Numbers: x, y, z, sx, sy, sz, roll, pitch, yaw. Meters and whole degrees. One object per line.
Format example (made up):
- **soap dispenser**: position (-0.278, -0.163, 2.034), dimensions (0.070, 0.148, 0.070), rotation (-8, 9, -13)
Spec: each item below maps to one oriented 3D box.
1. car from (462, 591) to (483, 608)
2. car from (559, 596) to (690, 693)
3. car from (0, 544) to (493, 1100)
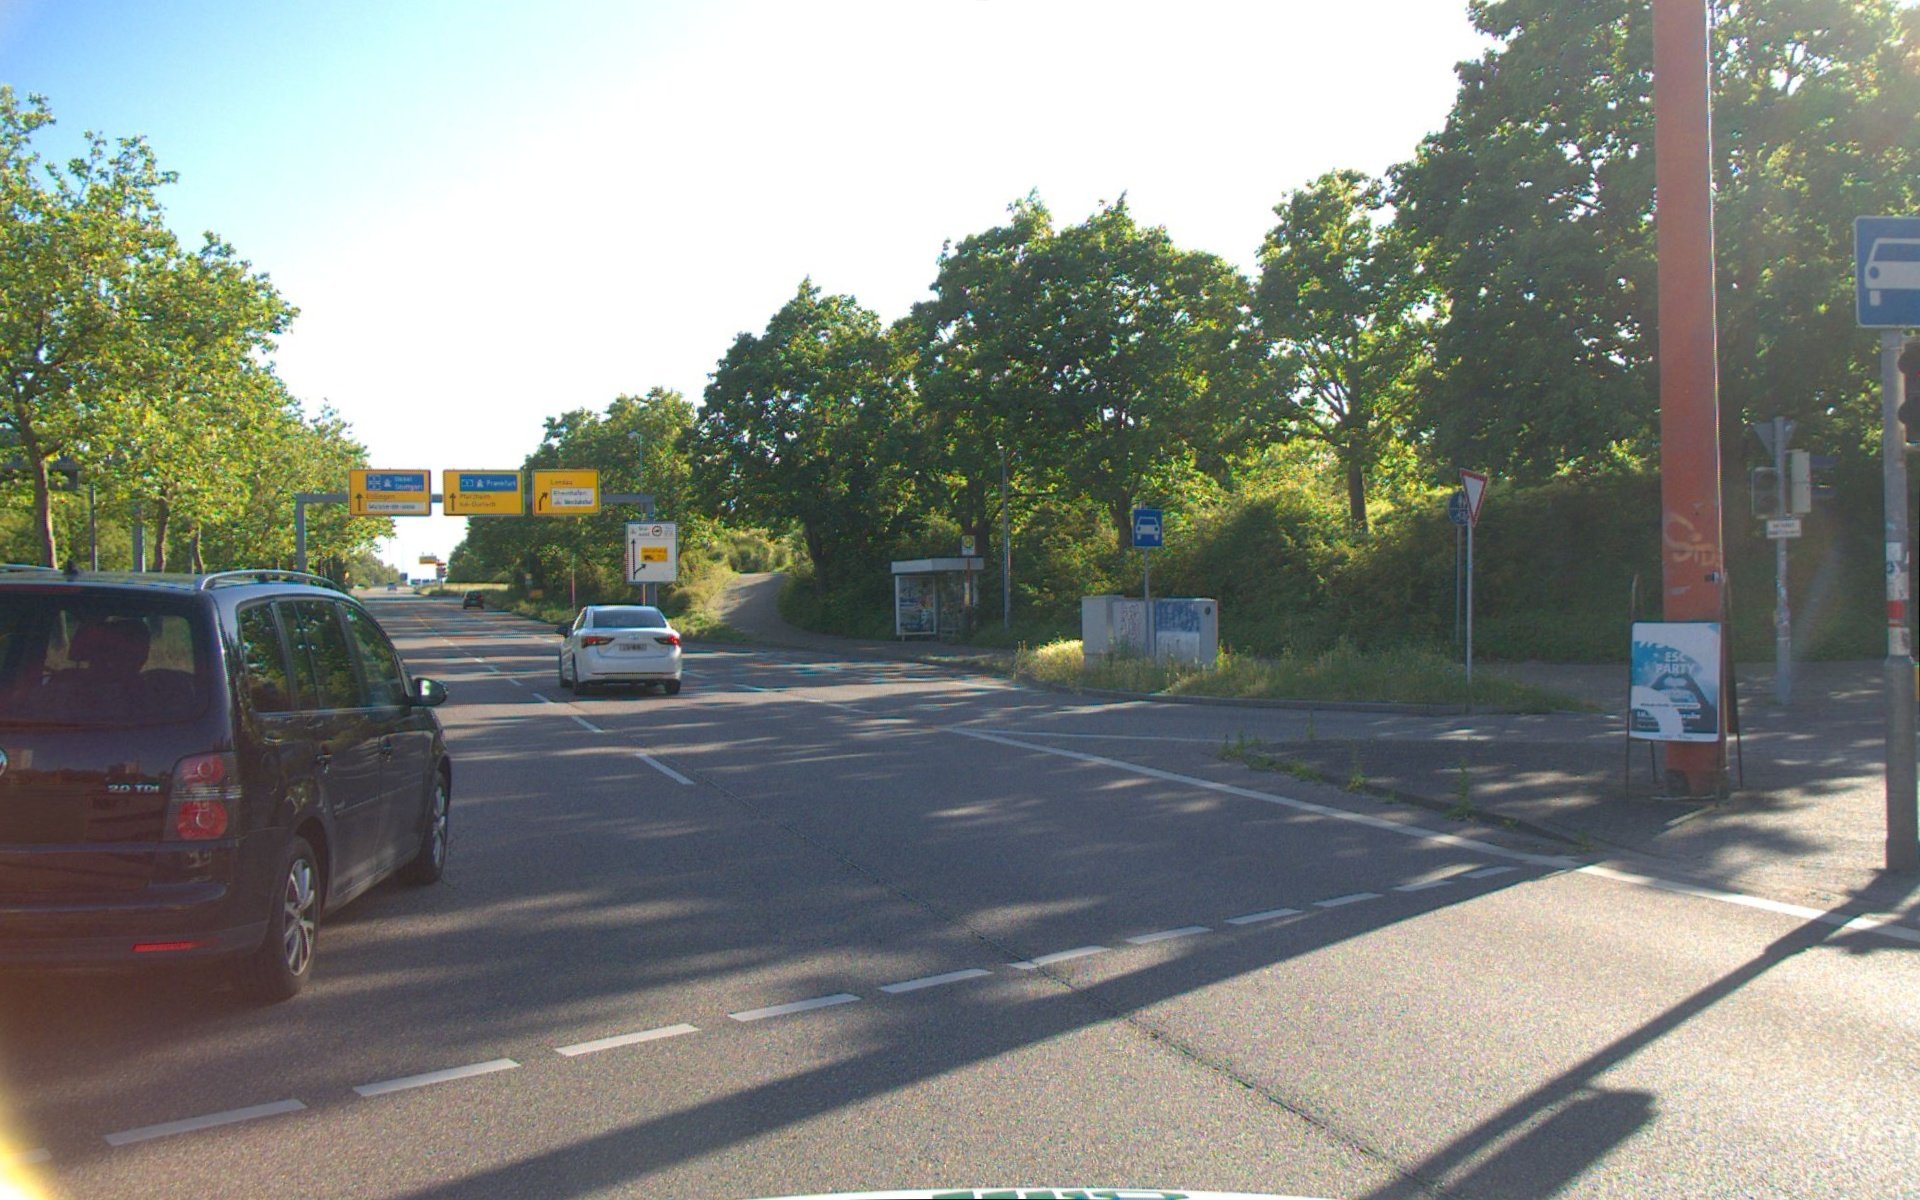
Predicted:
- **car**: position (-44.421, -0.086, 150.570), dimensions (1.740, 1.489, 4.344), rotation (-1, 1, -18)
- **car**: position (-5.893, 0.700, 28.696), dimensions (1.740, 1.489, 4.344), rotation (-1, 1, -18)
- **car**: position (-3.439, 0.654, 7.412), dimensions (1.733, 1.672, 4.917), rotation (-1, 1, -6)
